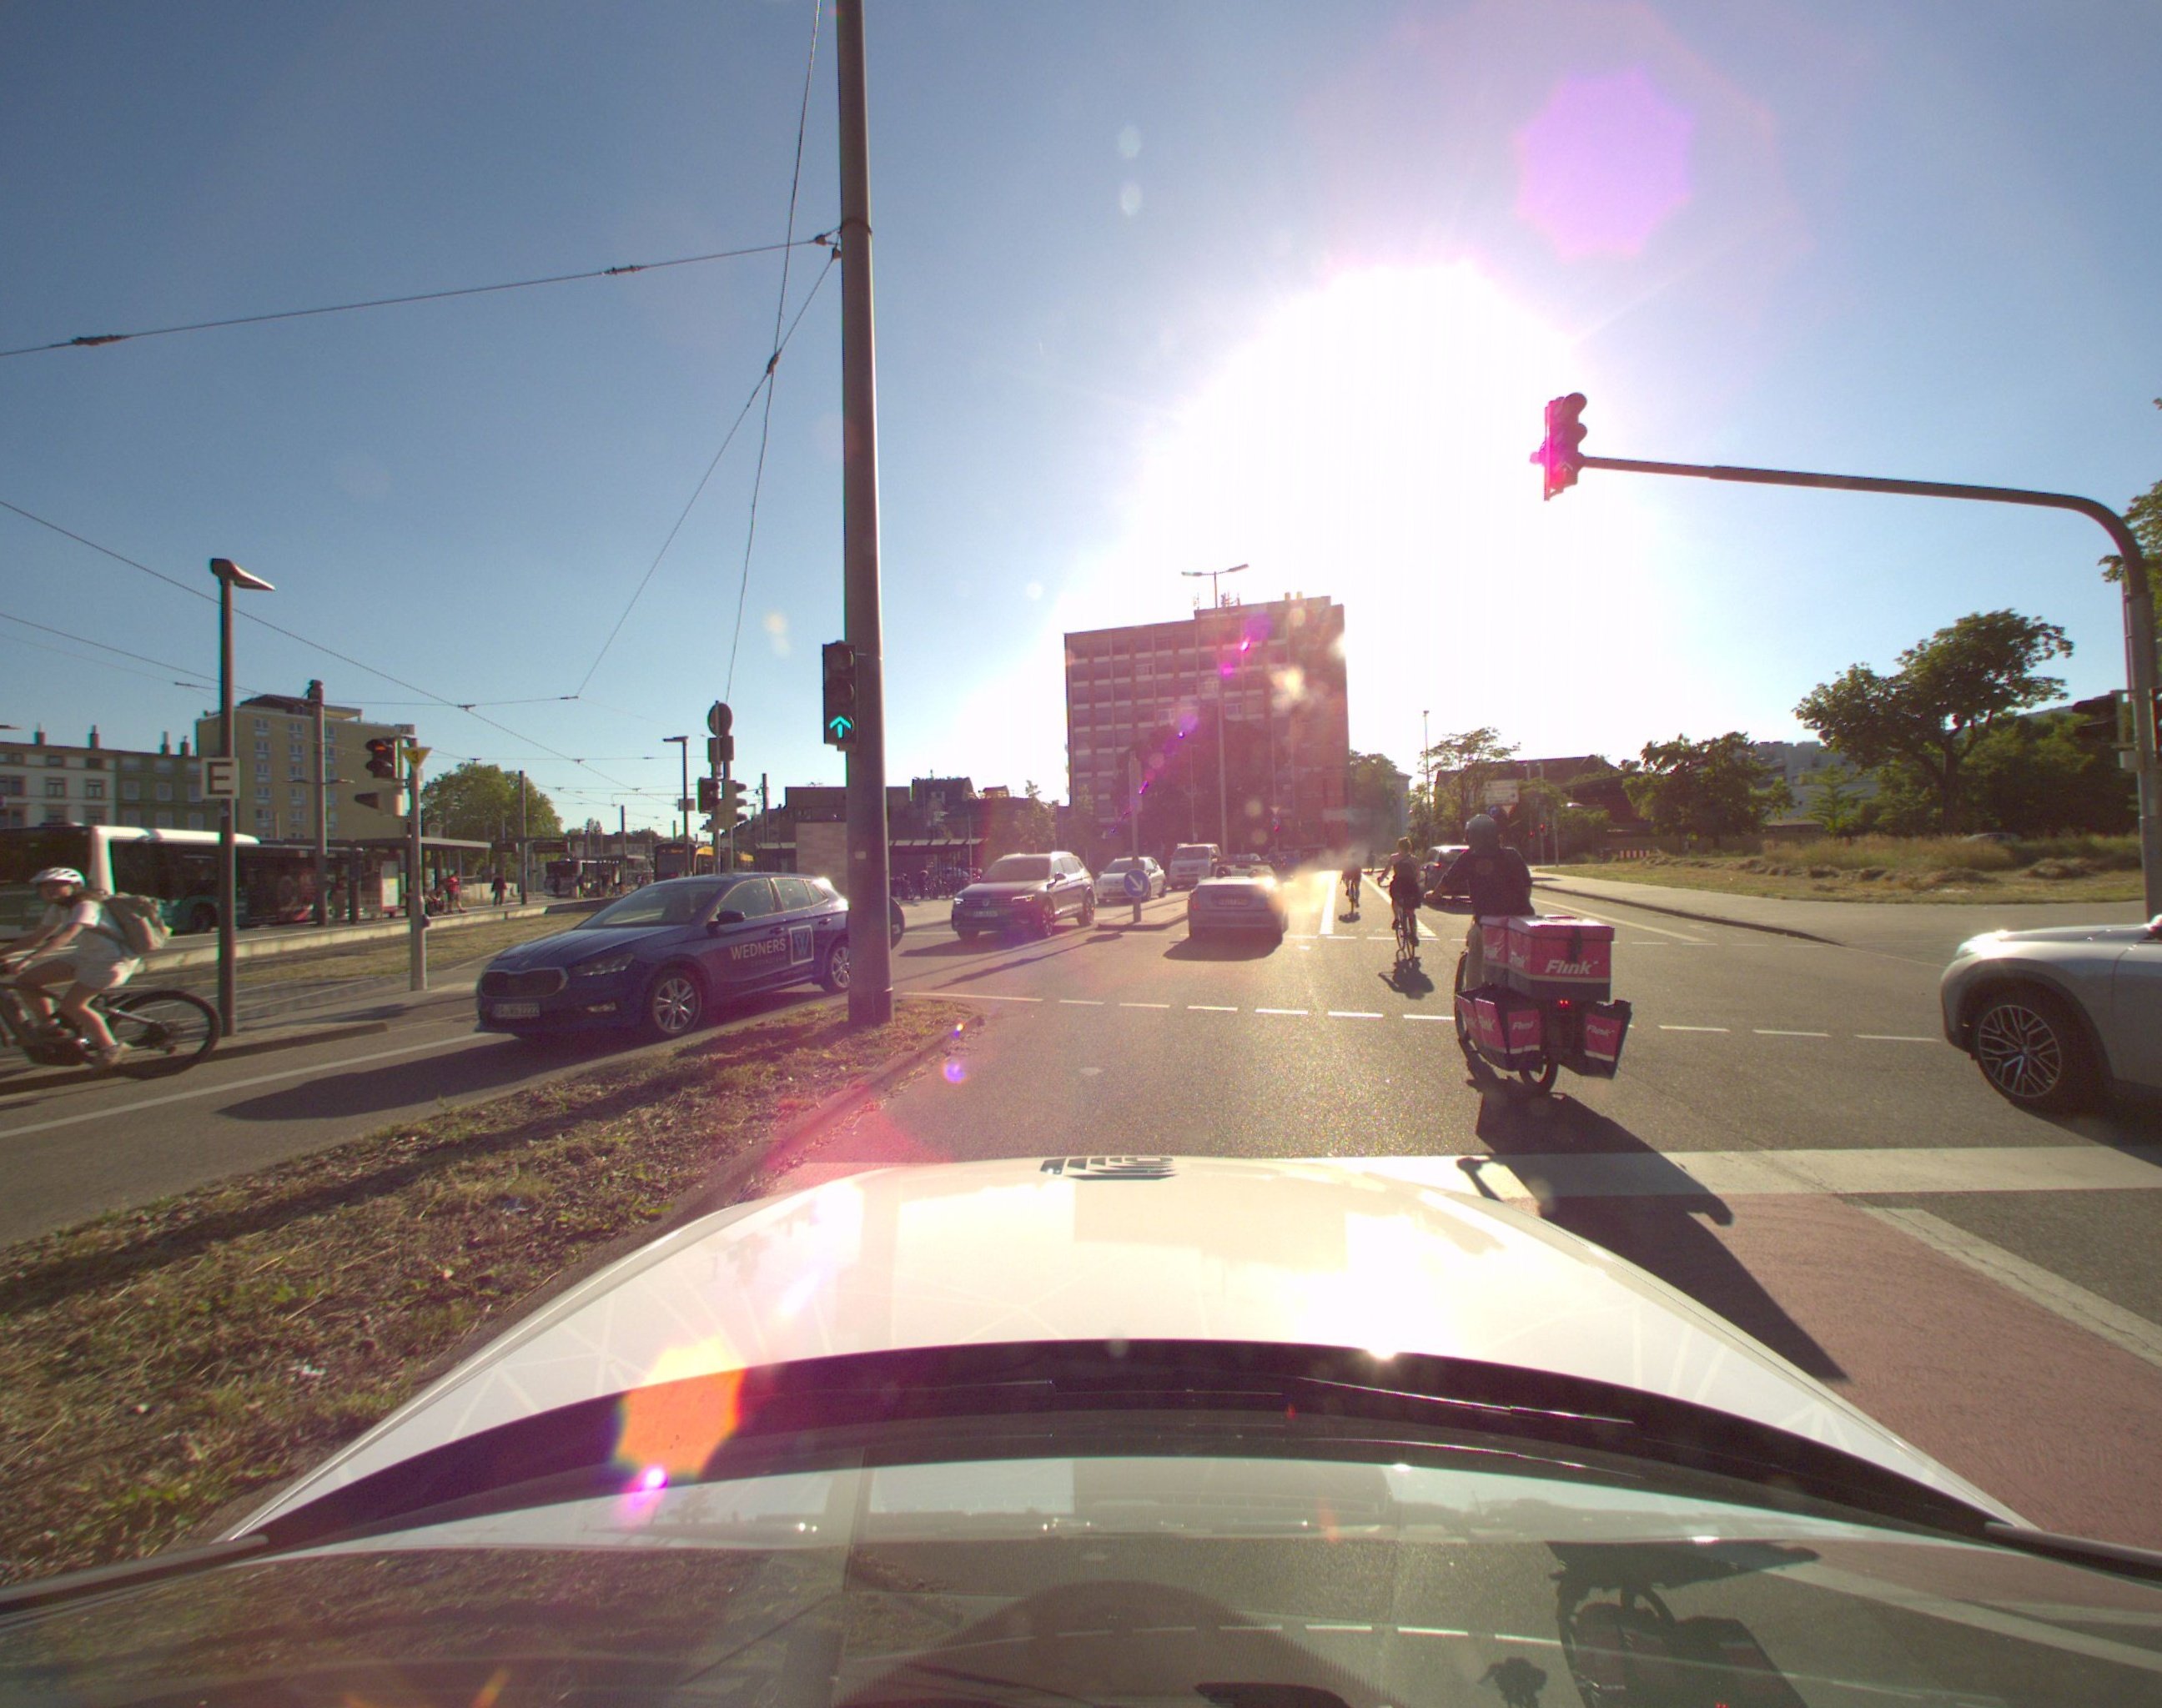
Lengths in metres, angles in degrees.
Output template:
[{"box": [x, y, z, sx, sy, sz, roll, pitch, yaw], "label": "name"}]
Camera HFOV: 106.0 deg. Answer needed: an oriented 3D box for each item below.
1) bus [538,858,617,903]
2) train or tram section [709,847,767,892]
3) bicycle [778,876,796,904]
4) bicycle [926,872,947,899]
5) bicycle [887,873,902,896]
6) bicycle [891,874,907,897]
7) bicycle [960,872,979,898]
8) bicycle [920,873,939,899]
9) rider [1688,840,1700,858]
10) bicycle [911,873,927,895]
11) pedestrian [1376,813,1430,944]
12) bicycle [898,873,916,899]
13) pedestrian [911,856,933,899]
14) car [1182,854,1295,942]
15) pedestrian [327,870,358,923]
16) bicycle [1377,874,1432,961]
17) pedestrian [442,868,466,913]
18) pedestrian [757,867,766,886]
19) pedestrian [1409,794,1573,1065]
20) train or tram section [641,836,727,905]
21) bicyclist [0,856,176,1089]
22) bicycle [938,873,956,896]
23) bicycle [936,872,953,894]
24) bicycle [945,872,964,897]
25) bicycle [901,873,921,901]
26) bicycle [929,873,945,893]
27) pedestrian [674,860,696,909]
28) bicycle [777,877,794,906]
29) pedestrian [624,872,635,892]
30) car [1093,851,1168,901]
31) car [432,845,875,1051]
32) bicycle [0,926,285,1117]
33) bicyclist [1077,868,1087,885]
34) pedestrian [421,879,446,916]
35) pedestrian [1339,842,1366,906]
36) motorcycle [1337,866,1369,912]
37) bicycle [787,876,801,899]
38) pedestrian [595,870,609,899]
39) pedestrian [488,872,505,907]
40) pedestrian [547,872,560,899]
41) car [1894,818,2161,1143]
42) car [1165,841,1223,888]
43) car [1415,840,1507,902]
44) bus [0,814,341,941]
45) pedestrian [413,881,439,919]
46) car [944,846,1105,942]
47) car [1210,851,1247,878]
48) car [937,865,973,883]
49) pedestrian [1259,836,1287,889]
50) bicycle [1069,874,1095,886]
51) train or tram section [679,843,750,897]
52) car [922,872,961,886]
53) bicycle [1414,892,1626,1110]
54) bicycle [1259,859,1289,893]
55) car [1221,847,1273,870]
[{"box": [-40.496, 2.020, 66.037, 2.730, 3.274, 13.373, 0, -1, -20], "label": "bus"}, {"box": [-30.106, 1.370, 71.985, 3.045, 3.597, 11.988, 0, -1, -15], "label": "train or tram section"}, {"box": [-12.723, 1.541, 35.237, 0.608, 1.115, 1.886, 0, -1, -17], "label": "bicycle"}, {"box": [-6.264, 1.345, 35.269, 0.608, 1.115, 1.885, 0, -1, -18], "label": "bicycle"}, {"box": [-9.732, 1.582, 42.508, 0.608, 1.115, 1.885, 0, -1, -18], "label": "bicycle"}, {"box": [-9.075, 1.569, 40.605, 0.608, 1.115, 1.885, 0, -1, -18], "label": "bicycle"}, {"box": [-4.894, 1.350, 35.735, 0.608, 1.115, 1.886, 0, -1, -15], "label": "bicycle"}, {"box": [-6.895, 1.438, 37.134, 0.608, 1.115, 1.885, 0, -1, -18], "label": "bicycle"}, {"box": [54.010, -0.440, 71.810, 0.744, 1.598, 0.593, -1, -1, 29], "label": "rider"}, {"box": [-8.513, 1.587, 42.807, 0.608, 1.115, 1.885, 0, -1, -18], "label": "bicycle"}, {"box": [4.773, 0.351, 12.127, 0.654, 1.869, 0.876, 0, -1, 17], "label": "pedestrian"}, {"box": [-7.922, 1.450, 37.017, 0.608, 1.115, 1.885, 0, -1, -18], "label": "bicycle"}, {"box": [-7.093, 1.035, 36.387, 0.903, 1.869, 0.683, 0, -1, -19], "label": "pedestrian"}, {"box": [3.154, 0.766, 15.703, 1.647, 1.441, 4.173, 0, -1, 18], "label": "car"}, {"box": [-24.900, 1.410, 27.456, 0.538, 1.749, 0.557, -2, -1, -12], "label": "pedestrian"}, {"box": [4.734, 0.883, 12.007, 0.559, 1.151, 1.958, 0, -1, 16], "label": "bicycle"}, {"box": [-25.048, 1.463, 32.520, 0.573, 1.749, 0.635, -2, -1, -23], "label": "pedestrian"}, {"box": [-30.328, 2.140, 77.292, 0.605, 1.749, 0.828, -2, -1, -14], "label": "pedestrian"}, {"box": [3.029, 0.527, 6.125, 0.802, 1.869, 0.958, 0, -1, 6], "label": "pedestrian"}, {"box": [-23.438, 0.944, 48.748, 2.889, 3.597, 12.124, 0, -1, -18], "label": "train or tram section"}, {"box": [-7.696, 0.854, 6.249, 0.703, 1.657, 0.746, -2, -1, 16], "label": "bicyclist"}, {"box": [-6.795, 1.525, 41.239, 0.608, 1.115, 1.885, 0, -1, -18], "label": "bicycle"}, {"box": [-7.231, 1.536, 43.168, 0.608, 1.115, 1.885, 0, -1, -18], "label": "bicycle"}, {"box": [-5.855, 1.412, 37.647, 0.608, 1.115, 1.885, 0, -1, -18], "label": "bicycle"}, {"box": [-7.314, 1.402, 35.002, 0.608, 1.115, 1.885, 0, -1, -18], "label": "bicycle"}, {"box": [-8.246, 1.637, 46.569, 0.608, 1.115, 1.885, 0, -1, -18], "label": "bicycle"}, {"box": [-14.451, 1.101, 29.726, 0.641, 1.749, 0.567, -2, -1, -25], "label": "pedestrian"}, {"box": [-12.107, 1.507, 33.375, 0.608, 1.115, 1.885, 0, -1, -18], "label": "bicycle"}, {"box": [-41.664, 2.567, 75.114, 0.735, 1.749, 0.637, -2, -1, -14], "label": "pedestrian"}, {"box": [1.777, 0.701, 28.105, 1.681, 1.560, 3.997, -2, -1, 16], "label": "car"}, {"box": [-3.997, 0.811, 8.446, 1.723, 1.574, 3.941, -5, -2, 17], "label": "car"}, {"box": [-7.671, 1.240, 6.233, 0.669, 1.180, 2.192, -2, -1, 16], "label": "bicycle"}, {"box": [0.107, 2.166, 78.113, 0.745, 1.598, 0.593, -1, -1, 24], "label": "bicyclist"}, {"box": [-24.411, 1.648, 30.719, 0.573, 1.346, 0.635, -2, -1, -23], "label": "pedestrian"}, {"box": [6.933, 0.505, 20.810, 0.583, 1.598, 1.029, 0, -1, 15], "label": "pedestrian"}, {"box": [6.924, 0.860, 20.788, 0.609, 1.098, 2.369, 0, -1, 15], "label": "motorcycle"}, {"box": [-14.435, 1.684, 40.938, 0.608, 1.115, 1.885, 0, -1, -18], "label": "bicycle"}, {"box": [-29.677, 1.871, 50.460, 0.642, 1.749, 0.566, -2, -1, -33], "label": "pedestrian"}, {"box": [-30.044, 1.812, 41.858, 0.642, 1.749, 0.566, -2, -1, -33], "label": "pedestrian"}, {"box": [-34.393, 2.043, 53.072, 0.573, 1.749, 0.634, -2, -1, -25], "label": "pedestrian"}, {"box": [6.062, 0.610, 3.292, 1.776, 1.594, 4.341, 0, -1, 10], "label": "car"}, {"box": [5.298, 0.455, 37.623, 1.894, 1.945, 4.726, -4, -1, 16], "label": "car"}, {"box": [11.253, 0.501, 24.410, 1.817, 1.689, 4.387, 0, -1, 16], "label": "car"}, {"box": [-27.285, 0.671, 25.039, 2.659, 3.136, 9.590, 0, -1, -16], "label": "bus"}, {"box": [-24.187, 1.689, 30.059, 0.618, 1.340, 0.437, -2, -1, -23], "label": "pedestrian"}, {"box": [-1.016, 0.753, 17.333, 1.747, 1.706, 4.551, -4, -1, 18], "label": "car"}, {"box": [9.415, 0.654, 51.742, 1.785, 1.530, 4.017, -3, -1, 16], "label": "car"}, {"box": [-12.093, 1.901, 77.998, 3.555, 1.560, 1.654, -3, -1, 45], "label": "car"}, {"box": [6.925, 0.296, 29.336, 0.826, 1.869, 0.926, -1, -1, 24], "label": "pedestrian"}, {"box": [0.103, 2.482, 78.114, 2.385, 1.191, 0.613, -1, -1, 24], "label": "bicycle"}, {"box": [-26.911, 1.164, 60.382, 3.018, 3.597, 12.132, 0, -1, -16], "label": "train or tram section"}, {"box": [-15.861, 2.830, 92.659, 3.953, 1.574, 1.745, -1, -1, 21], "label": "car"}, {"box": [3.009, 0.900, 5.881, 0.551, 1.171, 2.377, 0, -1, 8], "label": "bicycle"}, {"box": [7.006, 0.786, 29.459, 0.602, 1.191, 2.428, -1, -1, 24], "label": "bicycle"}, {"box": [12.171, 0.331, 59.595, 1.782, 1.530, 4.024, -4, -1, 43], "label": "car"}]
